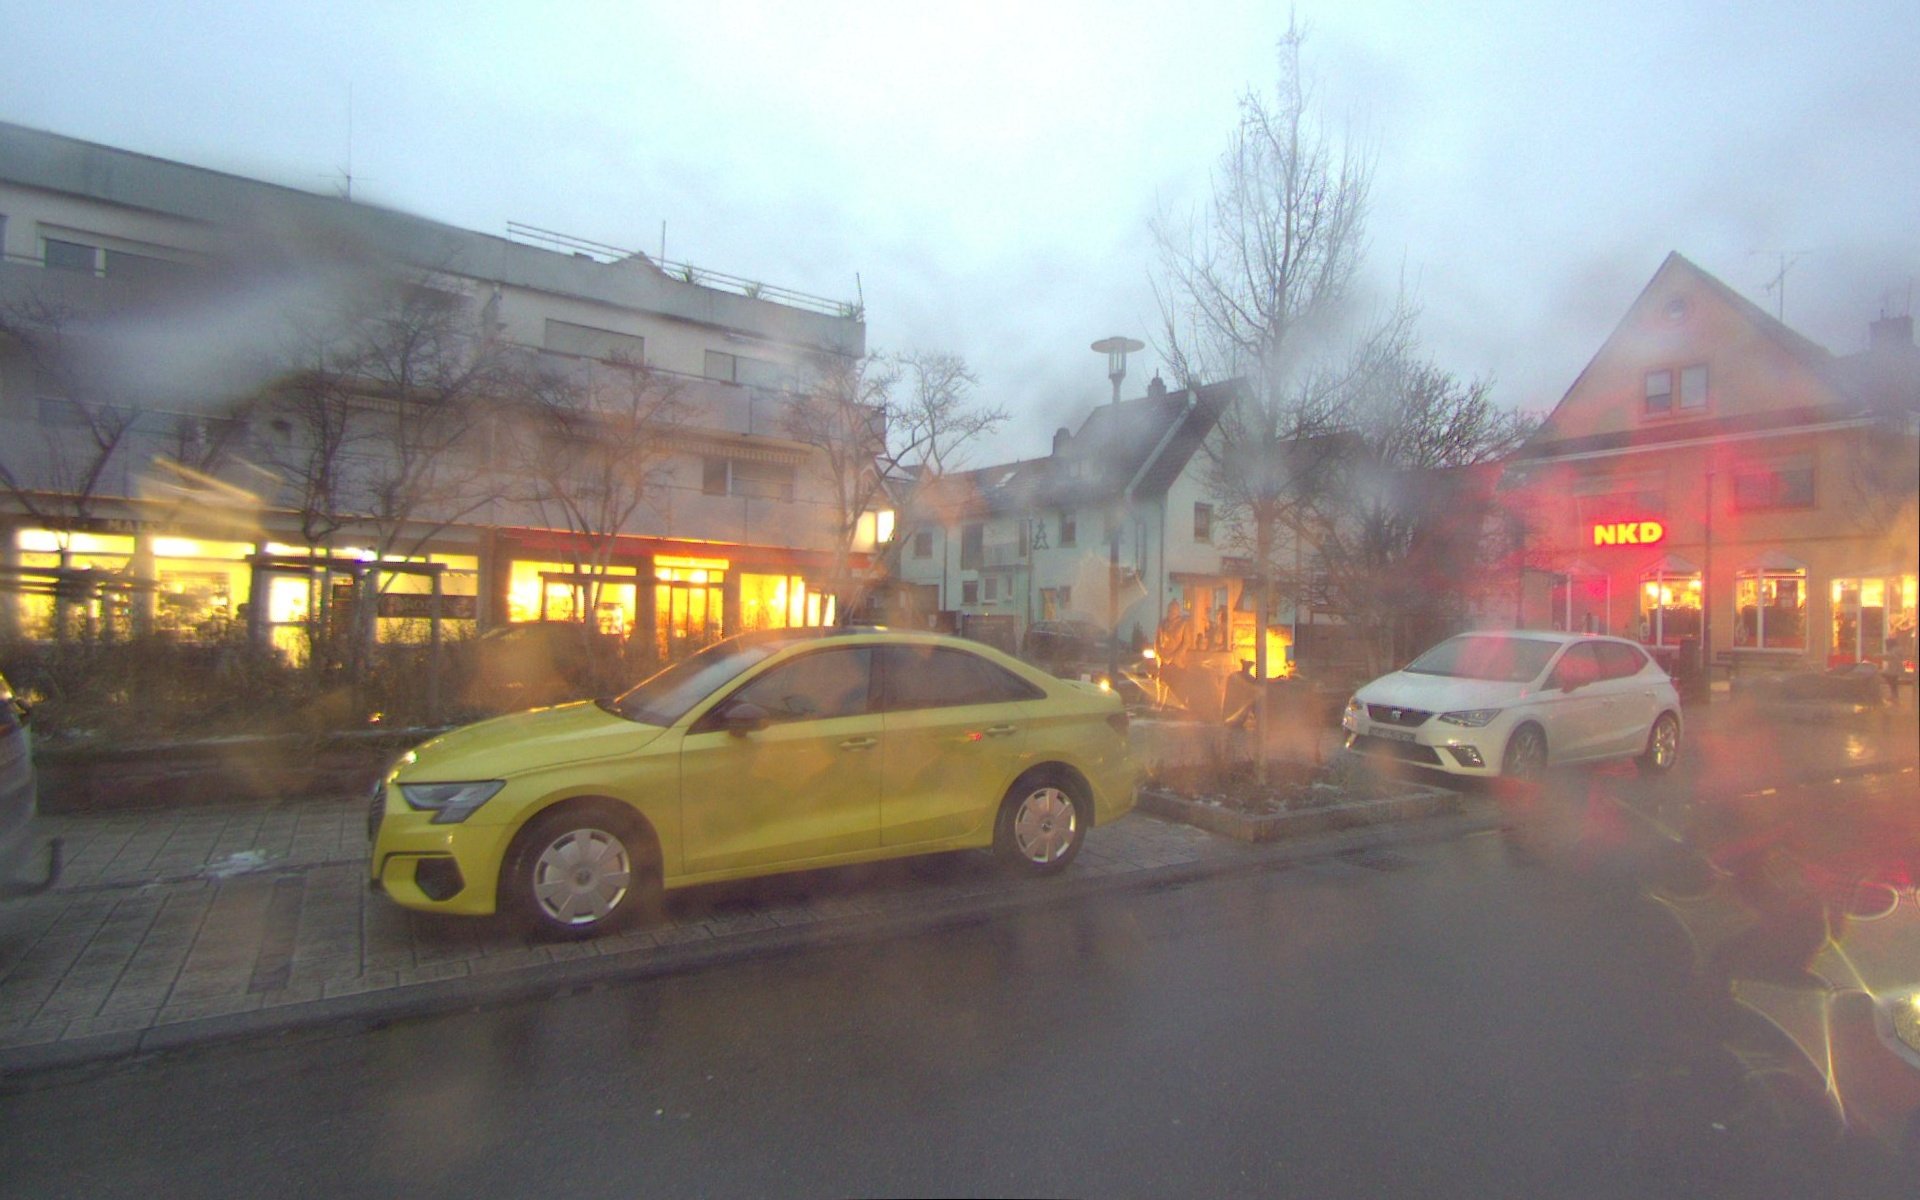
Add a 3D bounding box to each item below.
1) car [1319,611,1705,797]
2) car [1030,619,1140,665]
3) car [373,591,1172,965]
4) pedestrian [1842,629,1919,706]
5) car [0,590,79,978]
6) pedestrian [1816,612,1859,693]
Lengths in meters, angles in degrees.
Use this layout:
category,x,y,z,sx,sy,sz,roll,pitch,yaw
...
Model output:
category,x,y,z,sx,sy,sz,roll,pitch,yaw
car,5.713,0.946,10.302,3.953,1.536,1.661,2,1,-30
car,4.518,1.491,36.721,1.604,1.539,3.854,2,-1,-43
car,-0.973,0.787,5.999,4.289,1.536,1.741,2,0,-29
pedestrian,18.776,1.367,20.445,0.766,1.437,0.887,2,5,-25
car,-5.653,0.692,3.424,3.733,1.536,1.682,2,0,-33
pedestrian,19.602,1.153,22.436,0.678,1.765,0.583,1,-1,-37
